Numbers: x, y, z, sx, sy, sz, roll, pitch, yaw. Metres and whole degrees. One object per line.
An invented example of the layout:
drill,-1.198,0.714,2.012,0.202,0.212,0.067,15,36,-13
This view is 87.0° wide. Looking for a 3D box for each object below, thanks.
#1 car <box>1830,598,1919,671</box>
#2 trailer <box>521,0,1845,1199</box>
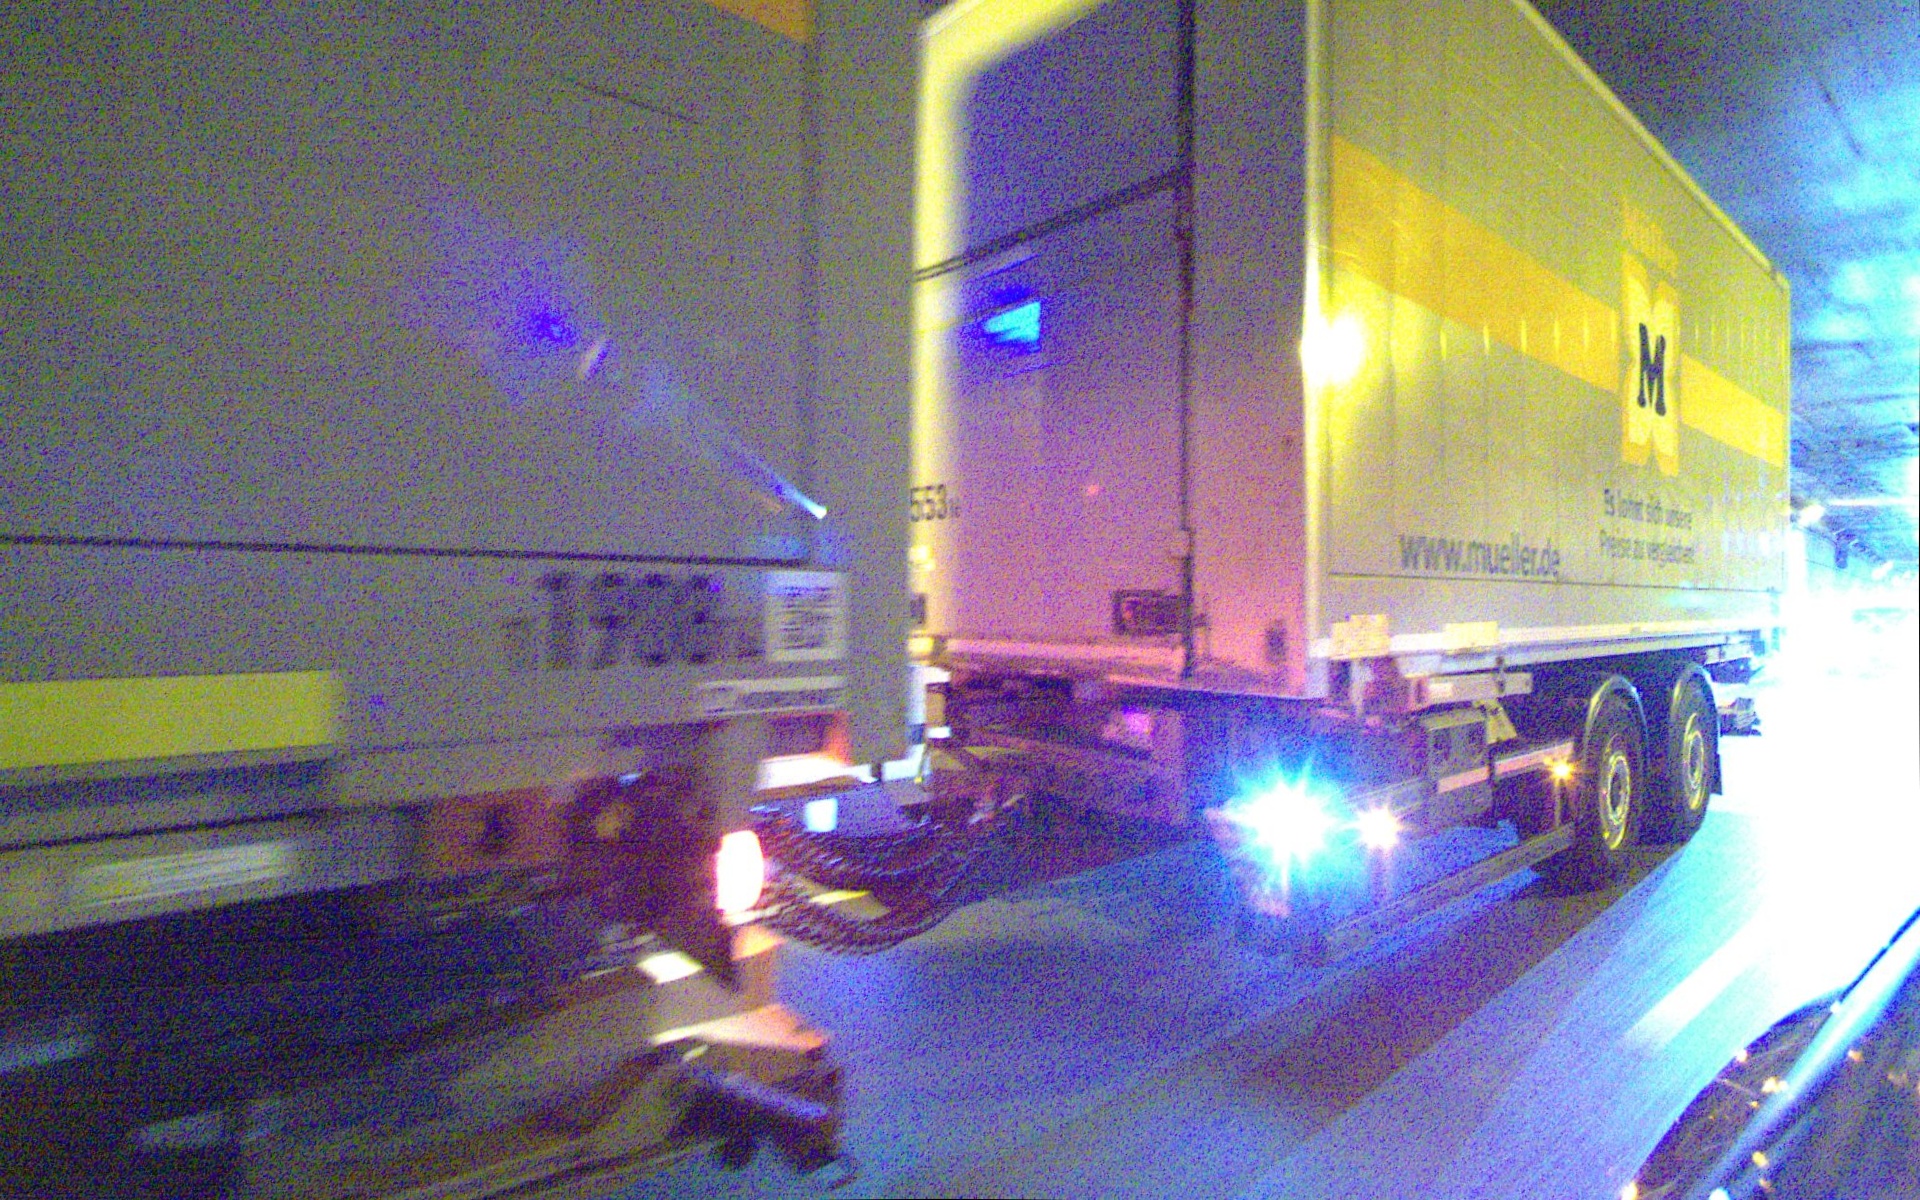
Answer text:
car,20.154,0.681,21.770,3.734,1.421,1.733,-1,0,-42
trailer,2.490,-0.633,5.876,8.793,3.906,2.880,0,1,-42
